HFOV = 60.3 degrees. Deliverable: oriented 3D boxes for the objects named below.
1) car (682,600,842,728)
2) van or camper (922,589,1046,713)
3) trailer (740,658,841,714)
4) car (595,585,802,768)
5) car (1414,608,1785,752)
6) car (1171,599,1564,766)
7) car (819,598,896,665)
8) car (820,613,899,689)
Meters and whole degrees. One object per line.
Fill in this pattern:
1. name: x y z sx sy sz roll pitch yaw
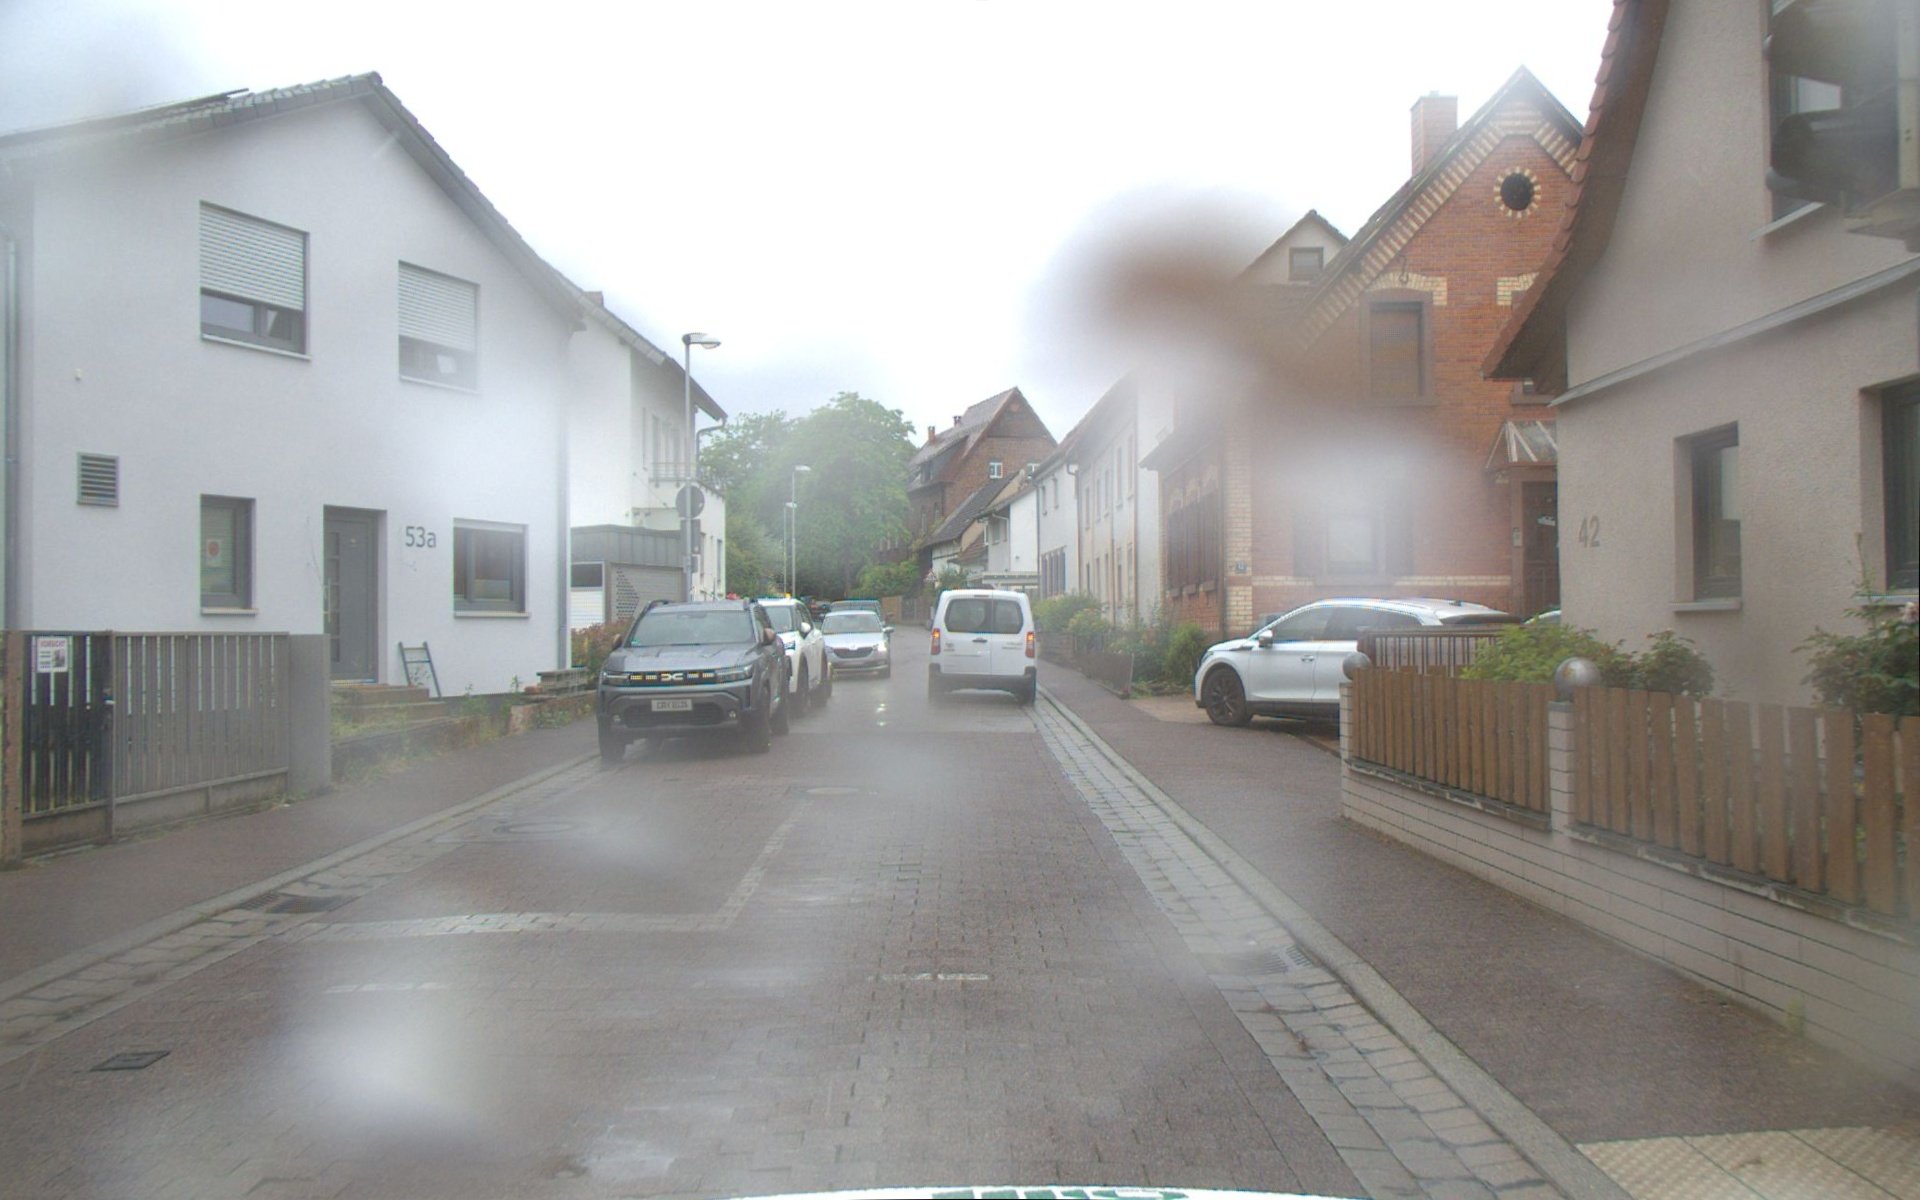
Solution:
1. car: -2.861 0.925 24.822 1.712 1.665 4.418 -3 -1 1
2. van or camper: 0.370 0.798 28.033 1.904 1.883 4.000 2 0 0
3. trailer: -2.879 1.456 28.526 1.453 0.843 2.675 -2 -2 -1
4. car: -2.835 0.768 18.738 1.775 1.810 4.016 -1 0 -2
5. car: 7.862 0.899 20.756 1.848 1.543 4.256 -1 0 -26
6. car: 4.713 0.883 19.832 1.853 1.617 4.569 1 1 -32
7. car: -2.826 0.824 45.537 1.954 1.707 4.779 -1 0 -4
8. car: -2.317 1.181 37.505 1.656 1.592 3.929 -1 -3 -5
